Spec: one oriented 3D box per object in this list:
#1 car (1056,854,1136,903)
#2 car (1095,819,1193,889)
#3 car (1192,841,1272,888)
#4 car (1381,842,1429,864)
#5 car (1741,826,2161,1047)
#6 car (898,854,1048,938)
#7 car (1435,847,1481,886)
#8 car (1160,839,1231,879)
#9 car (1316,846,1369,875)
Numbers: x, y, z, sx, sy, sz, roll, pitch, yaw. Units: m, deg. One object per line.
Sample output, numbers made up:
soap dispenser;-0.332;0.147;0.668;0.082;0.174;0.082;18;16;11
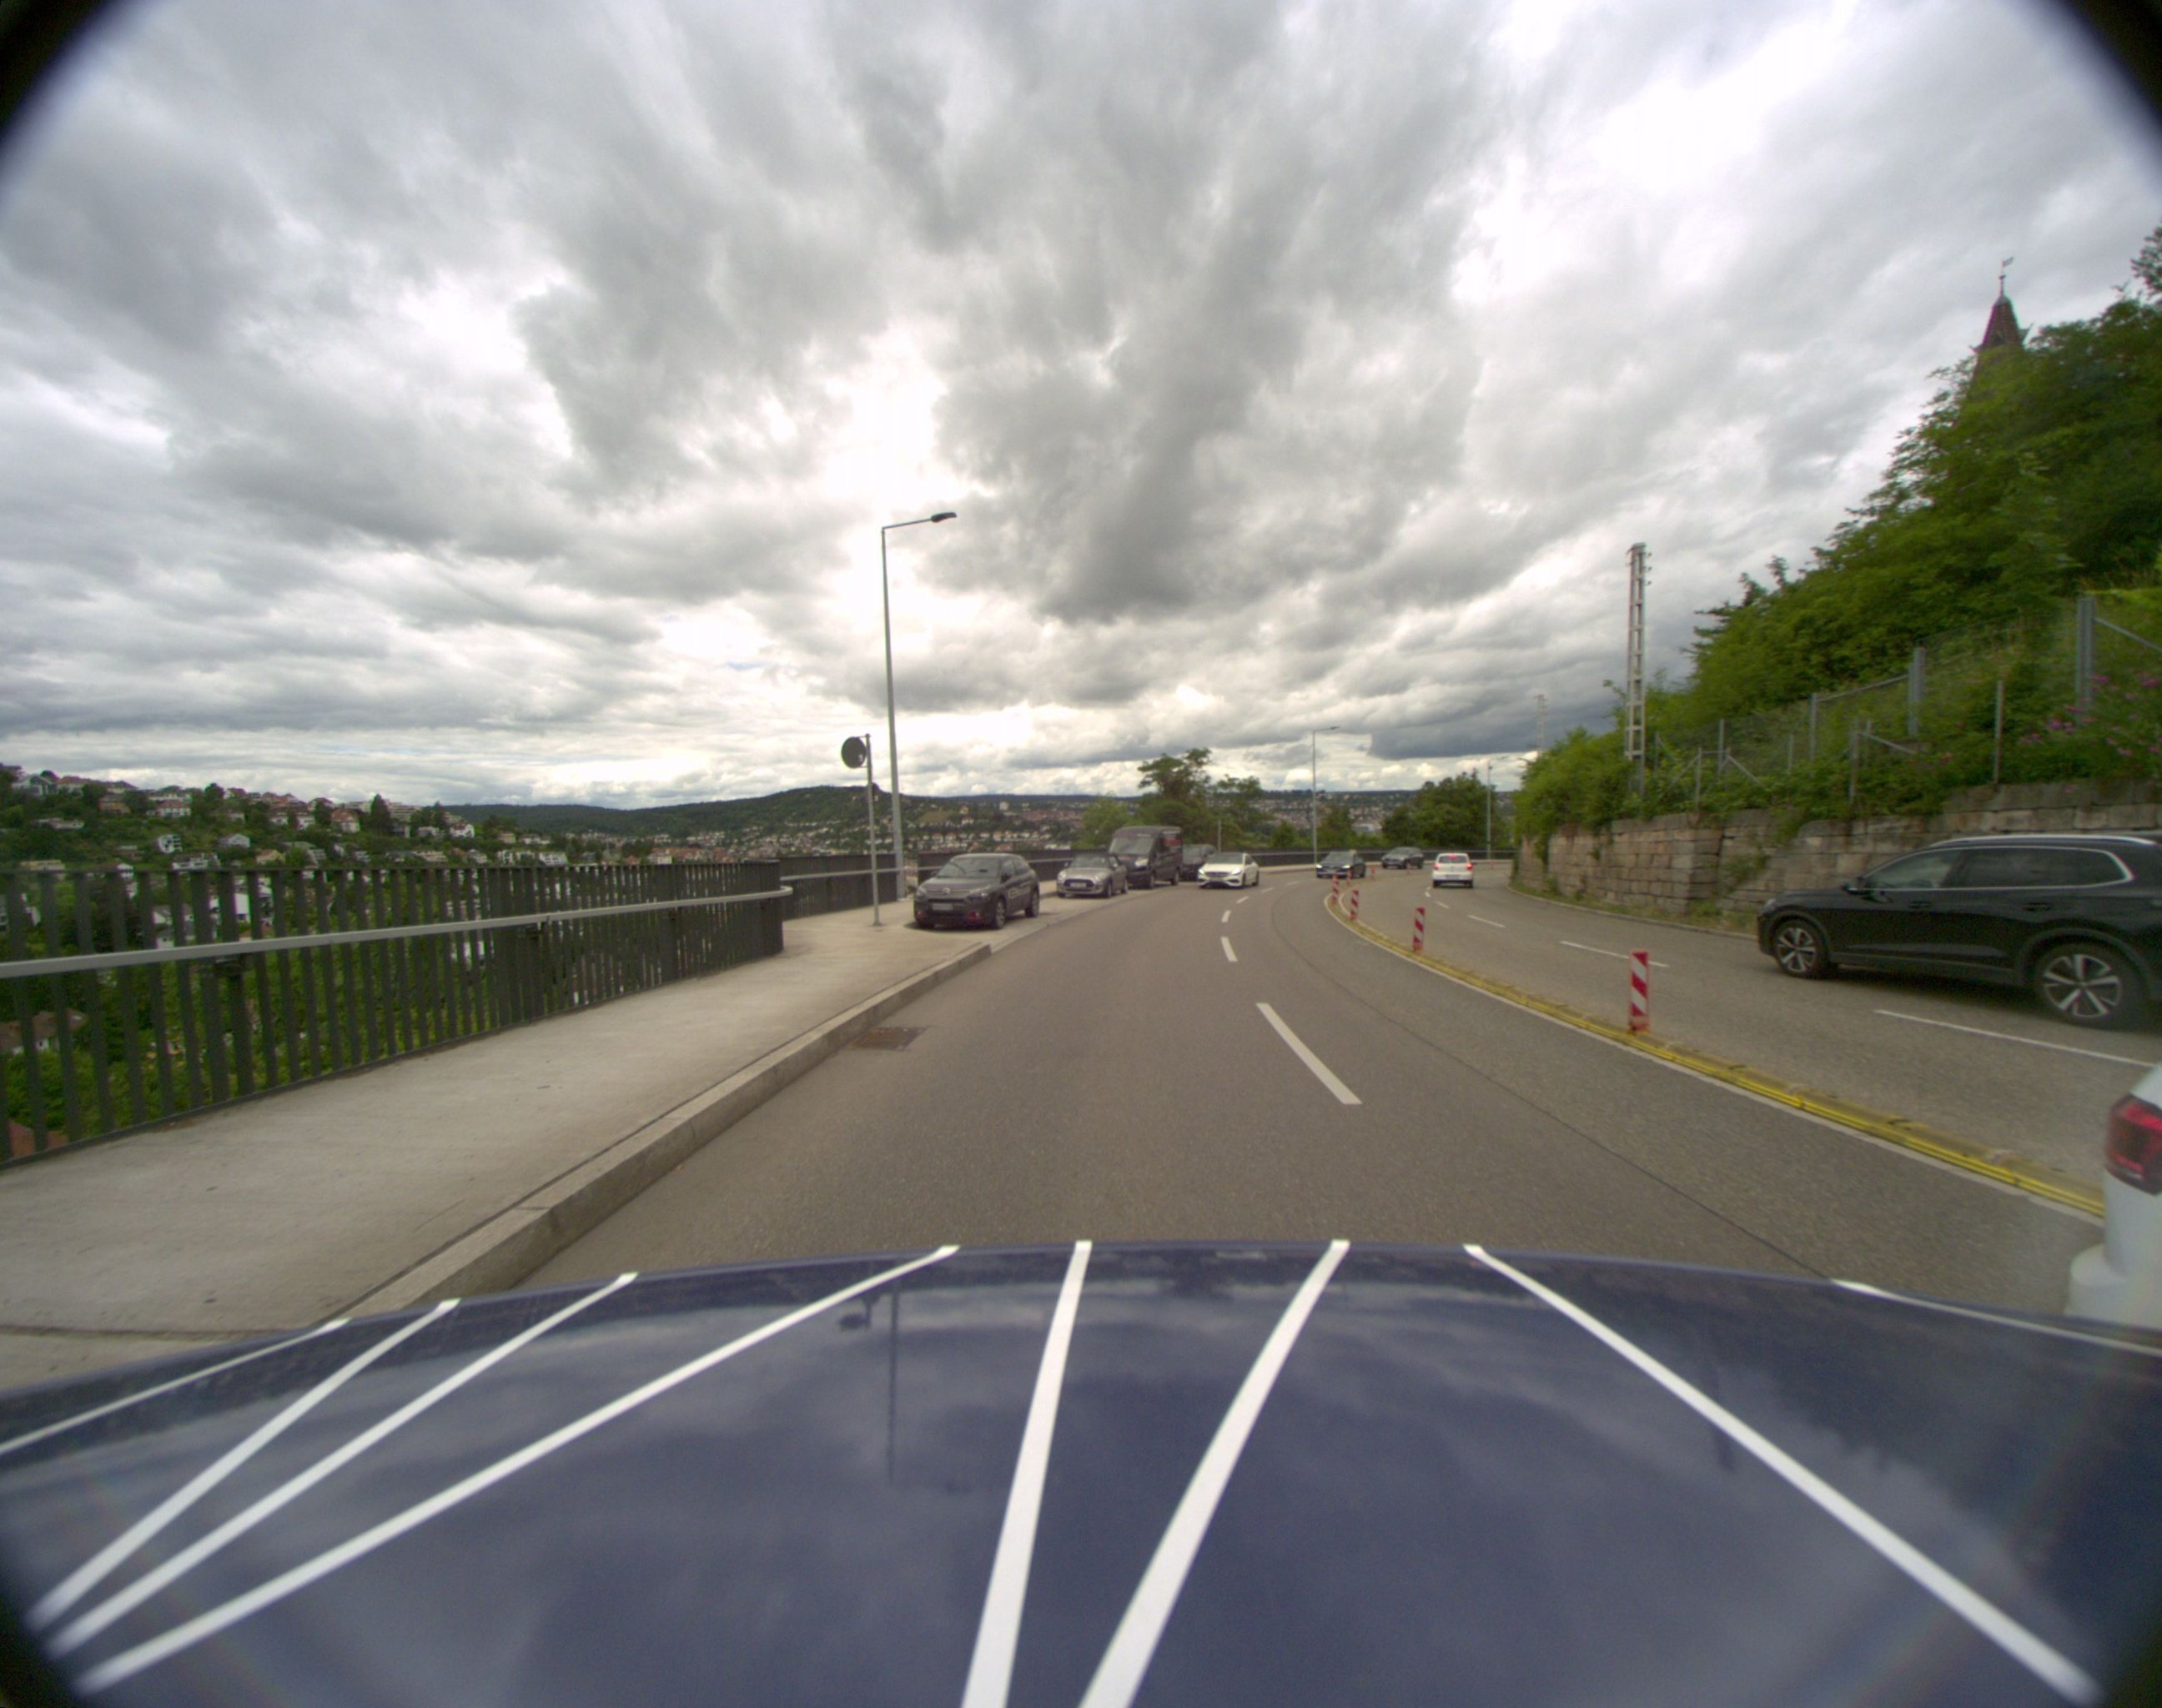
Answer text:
car;0.586;0.752;25.336;1.716;1.423;3.854;1;1;16
car;2.725;-0.055;30.995;2.168;2.508;5.780;4;2;23
car;6.256;0.362;31.167;1.994;1.708;4.007;2;2;30
car;24.769;-0.098;57.997;1.994;1.661;4.547;0;1;42
car;9.409;0.598;7.612;1.847;1.716;4.463;-1;1;3
car;-2.203;0.808;16.706;1.877;1.534;4.093;0;1;13
car;17.024;0.508;34.380;1.702;1.540;4.006;2;2;26
car;5.685;0.166;37.132;1.994;1.709;5.057;3;3;26
car;14.419;0.294;41.723;1.896;1.485;4.149;1;1;31
